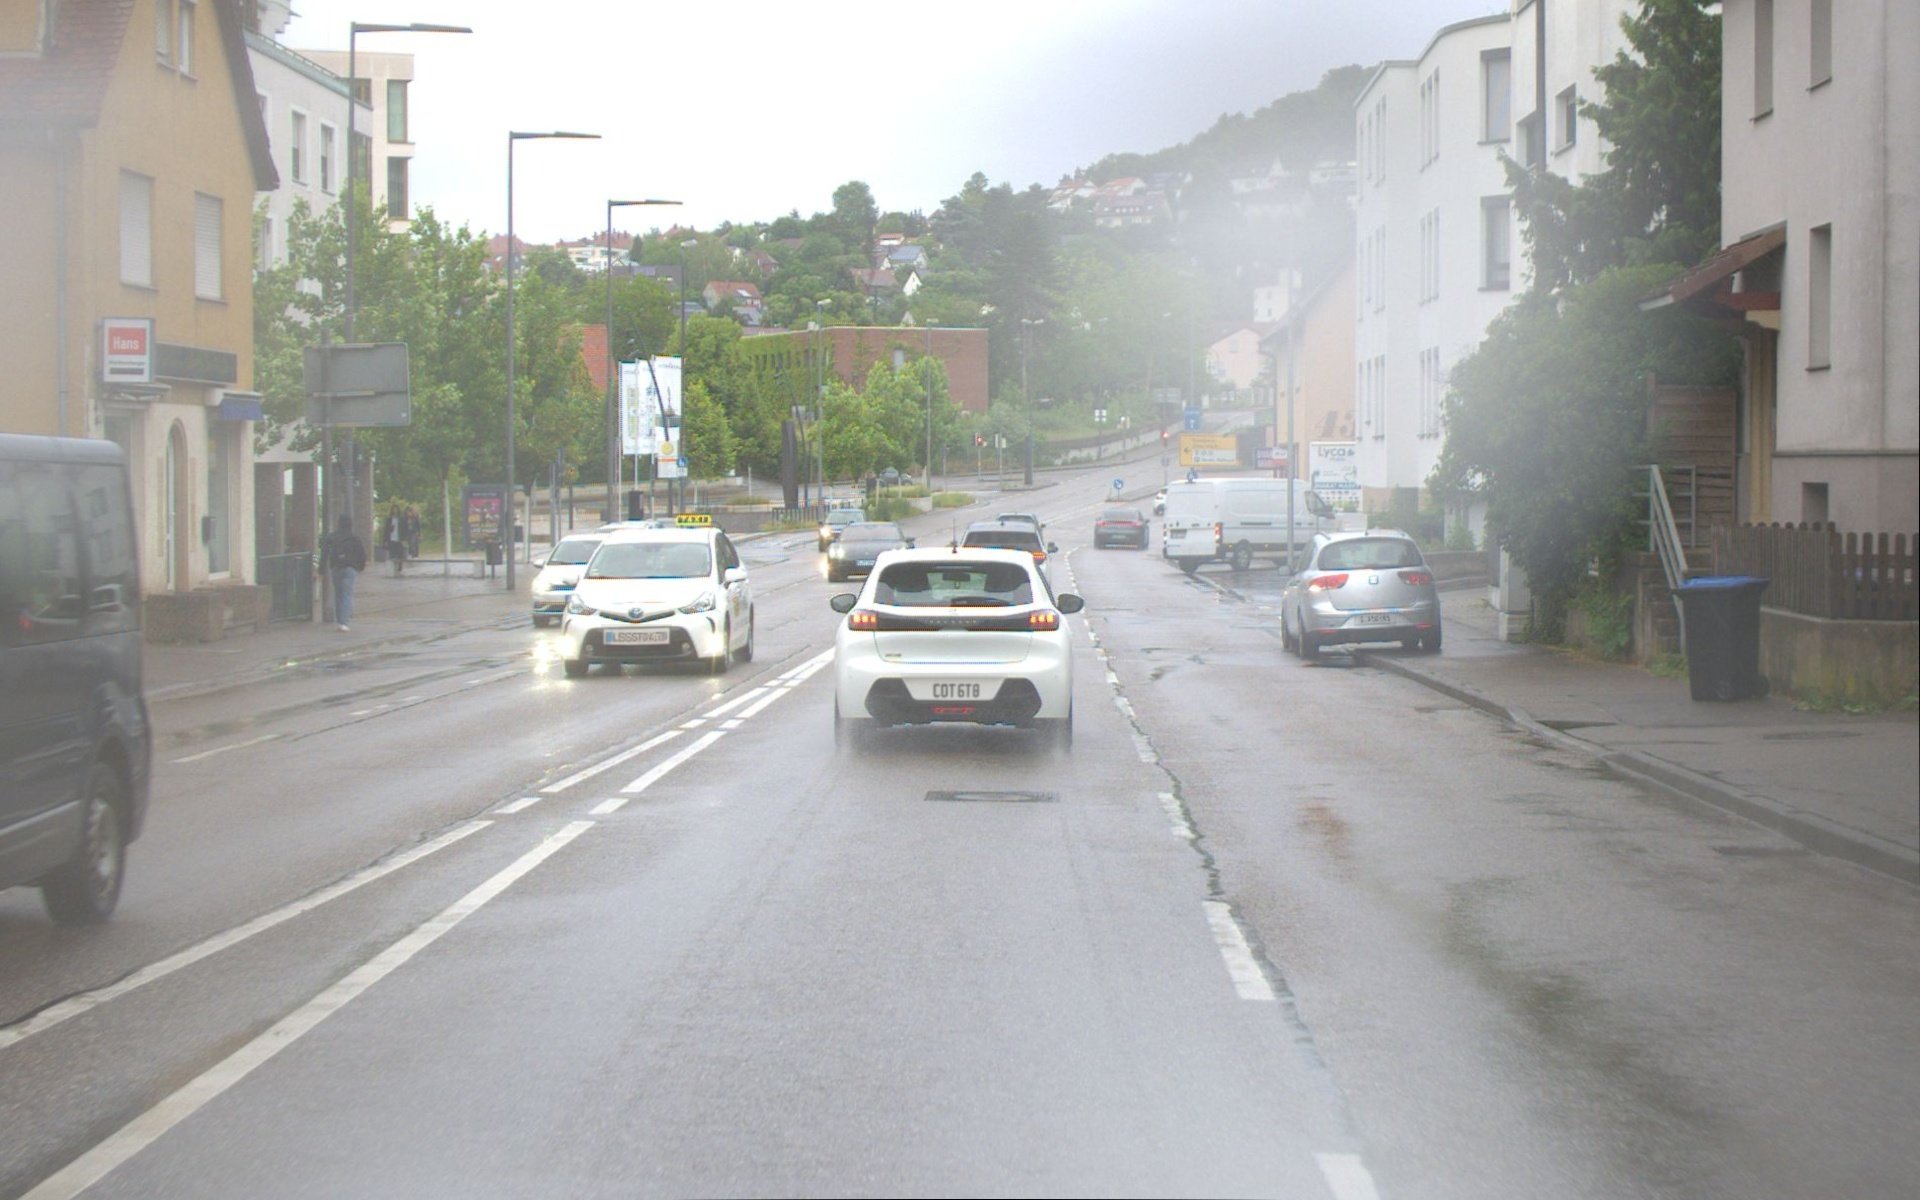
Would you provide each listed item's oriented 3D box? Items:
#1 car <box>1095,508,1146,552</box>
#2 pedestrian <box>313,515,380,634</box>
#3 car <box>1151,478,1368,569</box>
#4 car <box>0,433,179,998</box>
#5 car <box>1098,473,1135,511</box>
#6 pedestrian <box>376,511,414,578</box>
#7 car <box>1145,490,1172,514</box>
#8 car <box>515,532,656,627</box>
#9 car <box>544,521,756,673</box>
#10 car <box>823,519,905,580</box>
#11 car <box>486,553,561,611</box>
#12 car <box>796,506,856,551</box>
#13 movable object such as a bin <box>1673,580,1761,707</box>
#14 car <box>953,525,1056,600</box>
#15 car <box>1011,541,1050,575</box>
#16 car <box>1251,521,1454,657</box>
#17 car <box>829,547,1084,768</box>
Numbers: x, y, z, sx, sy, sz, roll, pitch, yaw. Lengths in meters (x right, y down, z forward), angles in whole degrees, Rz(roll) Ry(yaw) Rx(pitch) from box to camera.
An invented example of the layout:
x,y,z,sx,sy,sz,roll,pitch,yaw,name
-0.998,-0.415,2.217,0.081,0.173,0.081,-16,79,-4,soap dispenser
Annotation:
x,y,z,sx,sy,sz,roll,pitch,yaw,name
5.969,-2.606,127.963,1.734,1.383,3.353,1,5,0,car
-9.336,-0.382,52.327,0.800,1.782,0.882,-1,0,3,pedestrian
8.231,-2.044,93.876,2.297,2.374,6.608,-1,0,43,car
-4.271,0.401,12.003,1.965,1.931,5.180,-1,0,-1,car
8.801,-6.099,193.755,1.993,2.007,4.000,-1,0,2,car
-14.782,-1.441,89.909,0.808,1.732,1.003,-1,0,1,pedestrian
10.147,-5.018,175.758,1.385,1.122,2.610,-1,0,3,car
-6.072,-0.331,56.109,1.649,1.413,4.138,-3,0,2,car
-3.418,-0.035,38.746,1.878,1.603,4.718,0,0,1,car
-2.309,-1.202,83.479,1.768,1.409,4.526,-1,0,1,car
-10.145,-0.421,80.025,1.370,1.309,3.042,-1,0,-1,car
-4.750,-2.532,122.304,1.880,1.518,4.184,-1,0,1,car
6.530,0.368,29.665,0.576,1.044,0.830,-1,2,1,movable object such as a bin
0.827,-0.697,61.853,1.741,1.291,3.334,-1,1,2,car
2.387,-1.416,116.685,1.213,1.152,2.270,0,0,-1,car
4.946,-0.102,43.851,2.011,1.616,4.361,1,-1,-1,car
-0.097,0.398,25.611,1.690,1.514,3.933,0,0,-3,car
